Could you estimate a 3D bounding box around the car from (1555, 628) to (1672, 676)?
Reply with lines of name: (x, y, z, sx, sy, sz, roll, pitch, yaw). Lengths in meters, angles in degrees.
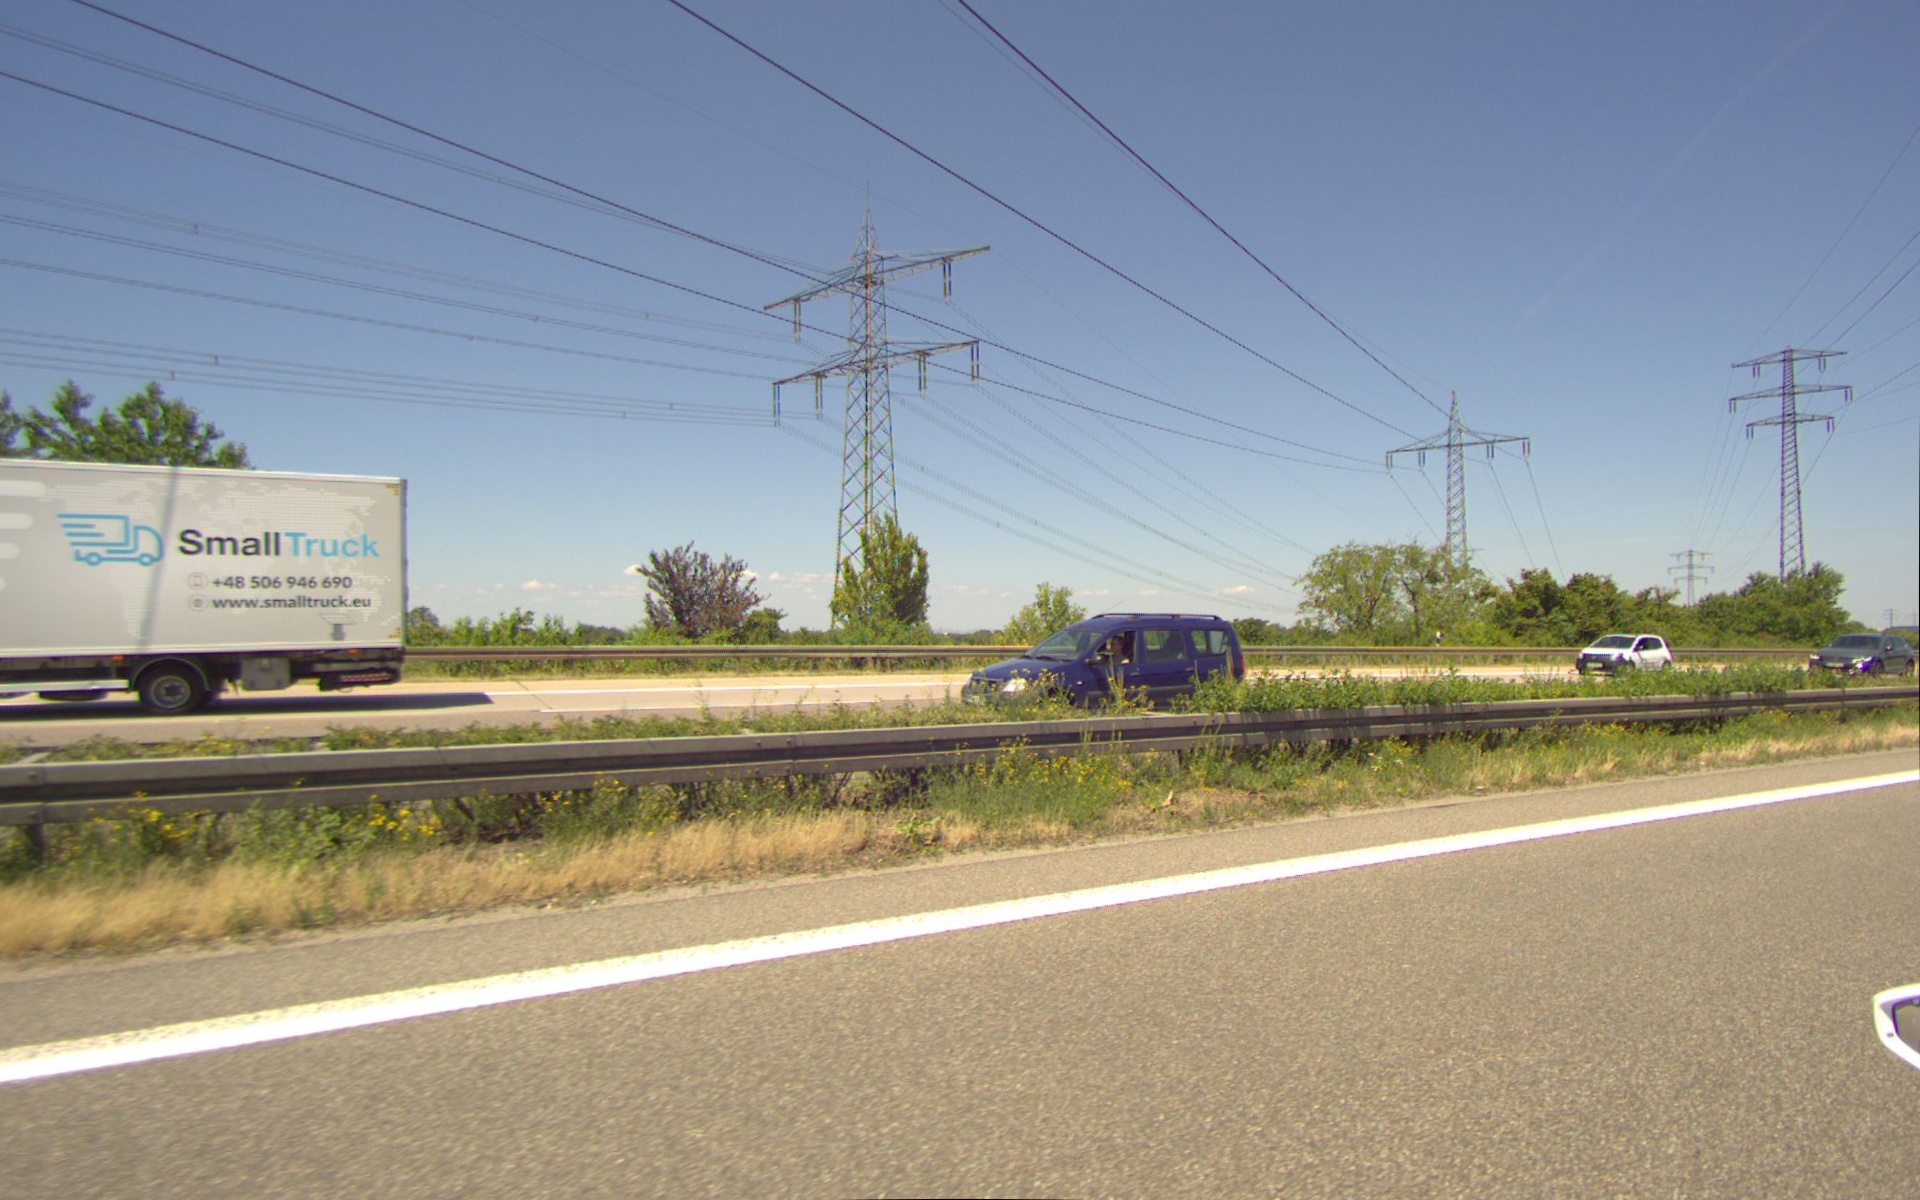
car: (22.643, 1.782, 34.751, 4.229, 1.553, 1.658, 2, -1, -30)

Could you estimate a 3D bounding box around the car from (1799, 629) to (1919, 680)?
car: (32.123, 1.888, 35.821, 4.358, 1.639, 1.984, 0, 0, -30)

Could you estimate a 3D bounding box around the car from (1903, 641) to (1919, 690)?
car: (31.033, 1.999, 30.758, 4.358, 1.455, 1.984, 0, 0, -30)

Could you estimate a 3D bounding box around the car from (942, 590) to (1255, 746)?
car: (2.069, 0.910, 14.777, 4.234, 2.001, 1.984, 1, 0, -30)

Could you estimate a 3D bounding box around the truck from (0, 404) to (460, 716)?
truck: (-12.510, -0.469, 14.289, 9.556, 4.028, 2.443, 0, -3, -30)
